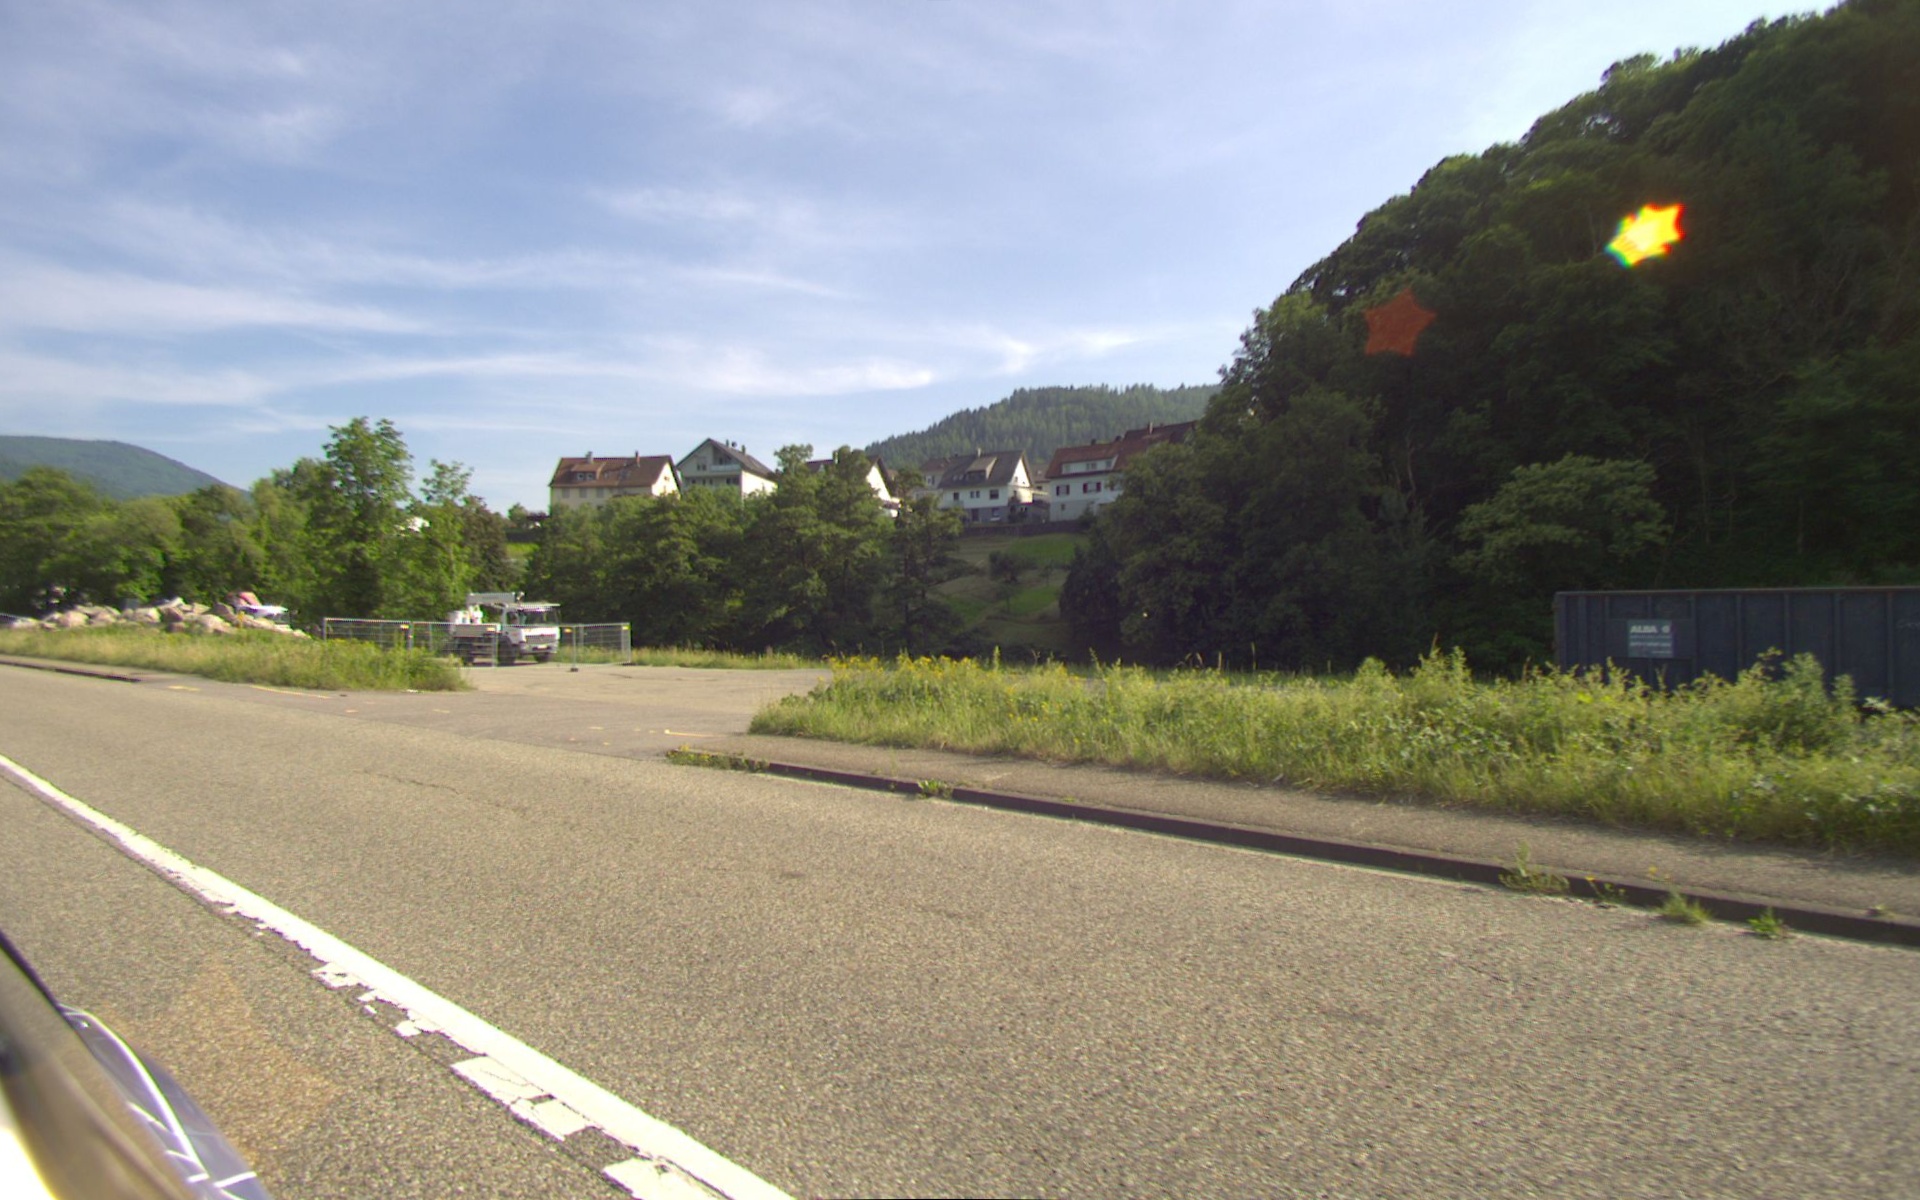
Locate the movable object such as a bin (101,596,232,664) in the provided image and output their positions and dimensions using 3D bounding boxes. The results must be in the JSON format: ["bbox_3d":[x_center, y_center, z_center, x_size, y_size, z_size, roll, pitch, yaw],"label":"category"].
[{"bbox_3d":[-49.321,1.860,62.806,9.948,3.977,2.681,0,-4,30],"label":"movable object such as a bin"}]

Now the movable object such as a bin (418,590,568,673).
[{"bbox_3d":[-23.839,1.621,51.578,7.777,3.977,2.878,-1,-4,30],"label":"movable object such as a bin"}]

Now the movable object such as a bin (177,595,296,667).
[{"bbox_3d":[-41.878,1.807,58.534,7.200,3.977,2.702,-1,-4,30],"label":"movable object such as a bin"}]
